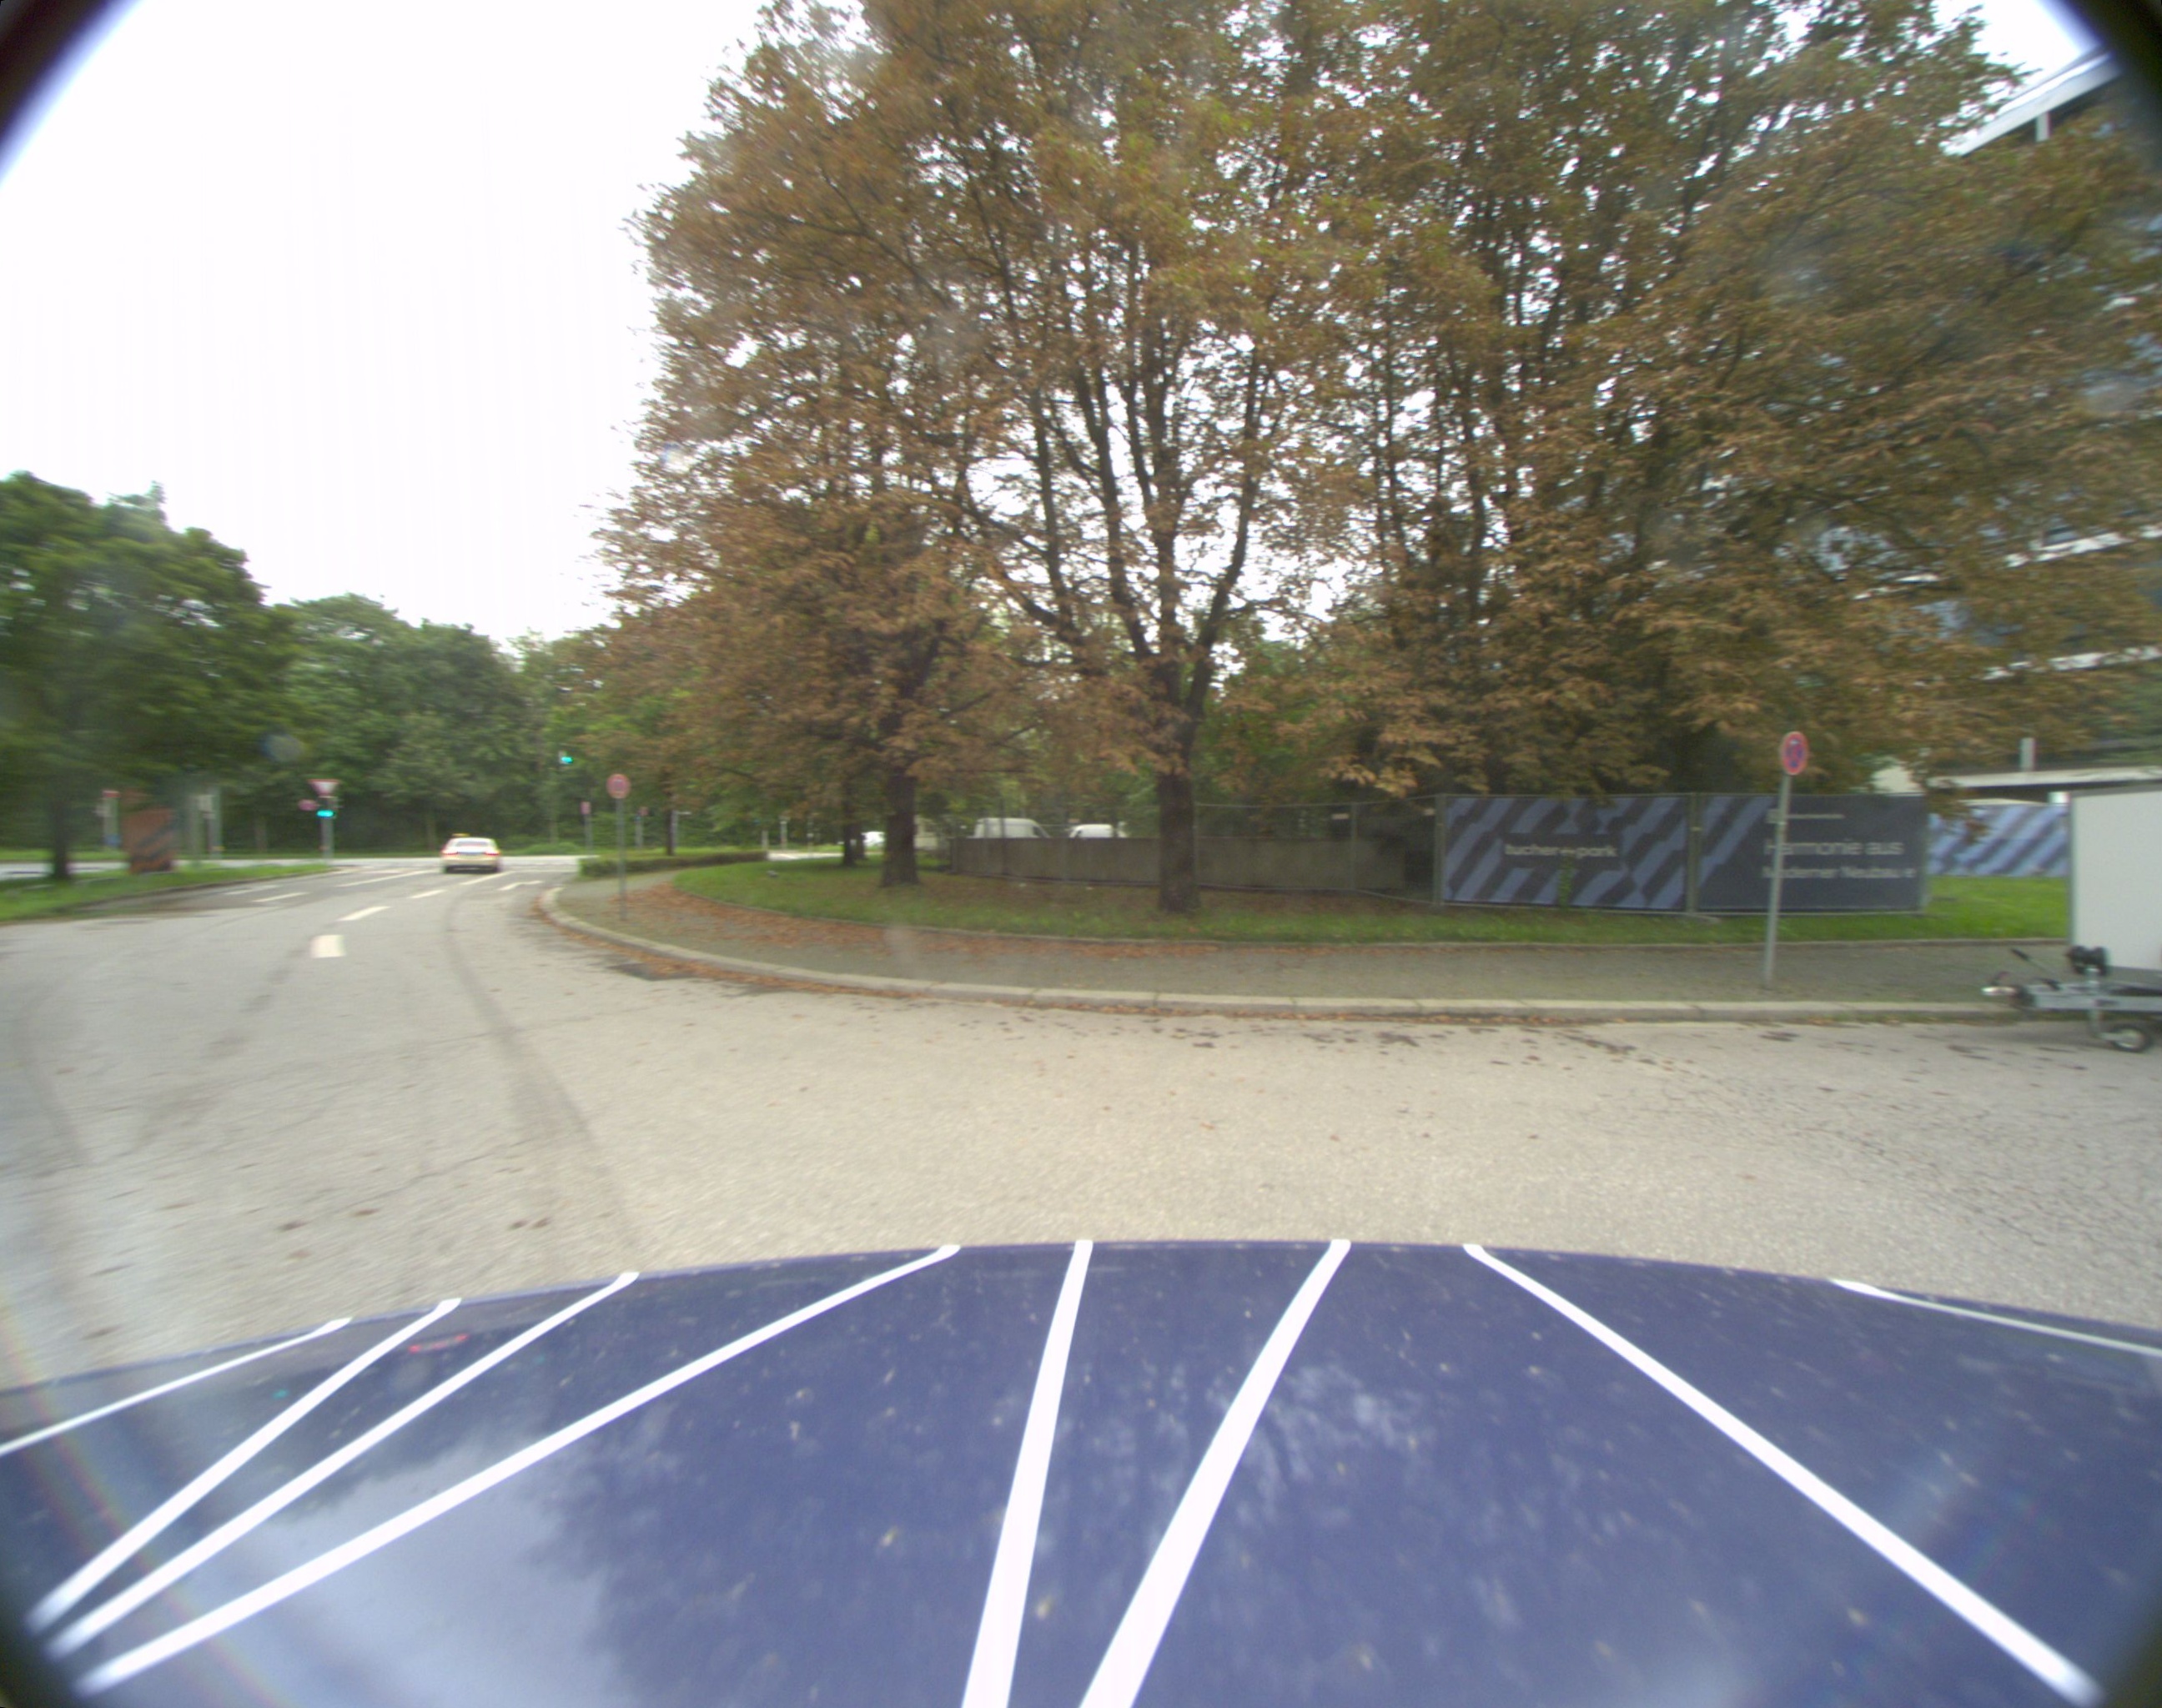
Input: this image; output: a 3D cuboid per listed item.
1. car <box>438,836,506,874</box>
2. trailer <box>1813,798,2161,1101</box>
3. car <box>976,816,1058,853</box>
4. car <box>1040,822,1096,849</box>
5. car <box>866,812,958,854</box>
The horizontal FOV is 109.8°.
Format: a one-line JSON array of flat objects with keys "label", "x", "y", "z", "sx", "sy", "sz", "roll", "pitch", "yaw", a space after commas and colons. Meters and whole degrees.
[{"label": "car", "x": -26.029, "y": -0.010, "z": 32.615, "sx": 1.897, "sy": 1.536, "sz": 4.840, "roll": -1, "pitch": 2, "yaw": -34}, {"label": "trailer", "x": 8.996, "y": 0.590, "z": 5.875, "sx": 4.830, "sy": 2.002, "sz": 1.814, "roll": -1, "pitch": 2, "yaw": 1}, {"label": "car", "x": -4.557, "y": -1.375, "z": 54.189, "sx": 5.466, "sy": 2.566, "sz": 2.071, "roll": -1, "pitch": 2, "yaw": -28}, {"label": "car", "x": -1.281, "y": -1.865, "z": 75.323, "sx": 5.143, "sy": 2.566, "sz": 2.071, "roll": -1, "pitch": 2, "yaw": -27}, {"label": "car", "x": -11.161, "y": -1.388, "z": 50.347, "sx": 5.605, "sy": 2.719, "sz": 2.071, "roll": -1, "pitch": 2, "yaw": -28}]
